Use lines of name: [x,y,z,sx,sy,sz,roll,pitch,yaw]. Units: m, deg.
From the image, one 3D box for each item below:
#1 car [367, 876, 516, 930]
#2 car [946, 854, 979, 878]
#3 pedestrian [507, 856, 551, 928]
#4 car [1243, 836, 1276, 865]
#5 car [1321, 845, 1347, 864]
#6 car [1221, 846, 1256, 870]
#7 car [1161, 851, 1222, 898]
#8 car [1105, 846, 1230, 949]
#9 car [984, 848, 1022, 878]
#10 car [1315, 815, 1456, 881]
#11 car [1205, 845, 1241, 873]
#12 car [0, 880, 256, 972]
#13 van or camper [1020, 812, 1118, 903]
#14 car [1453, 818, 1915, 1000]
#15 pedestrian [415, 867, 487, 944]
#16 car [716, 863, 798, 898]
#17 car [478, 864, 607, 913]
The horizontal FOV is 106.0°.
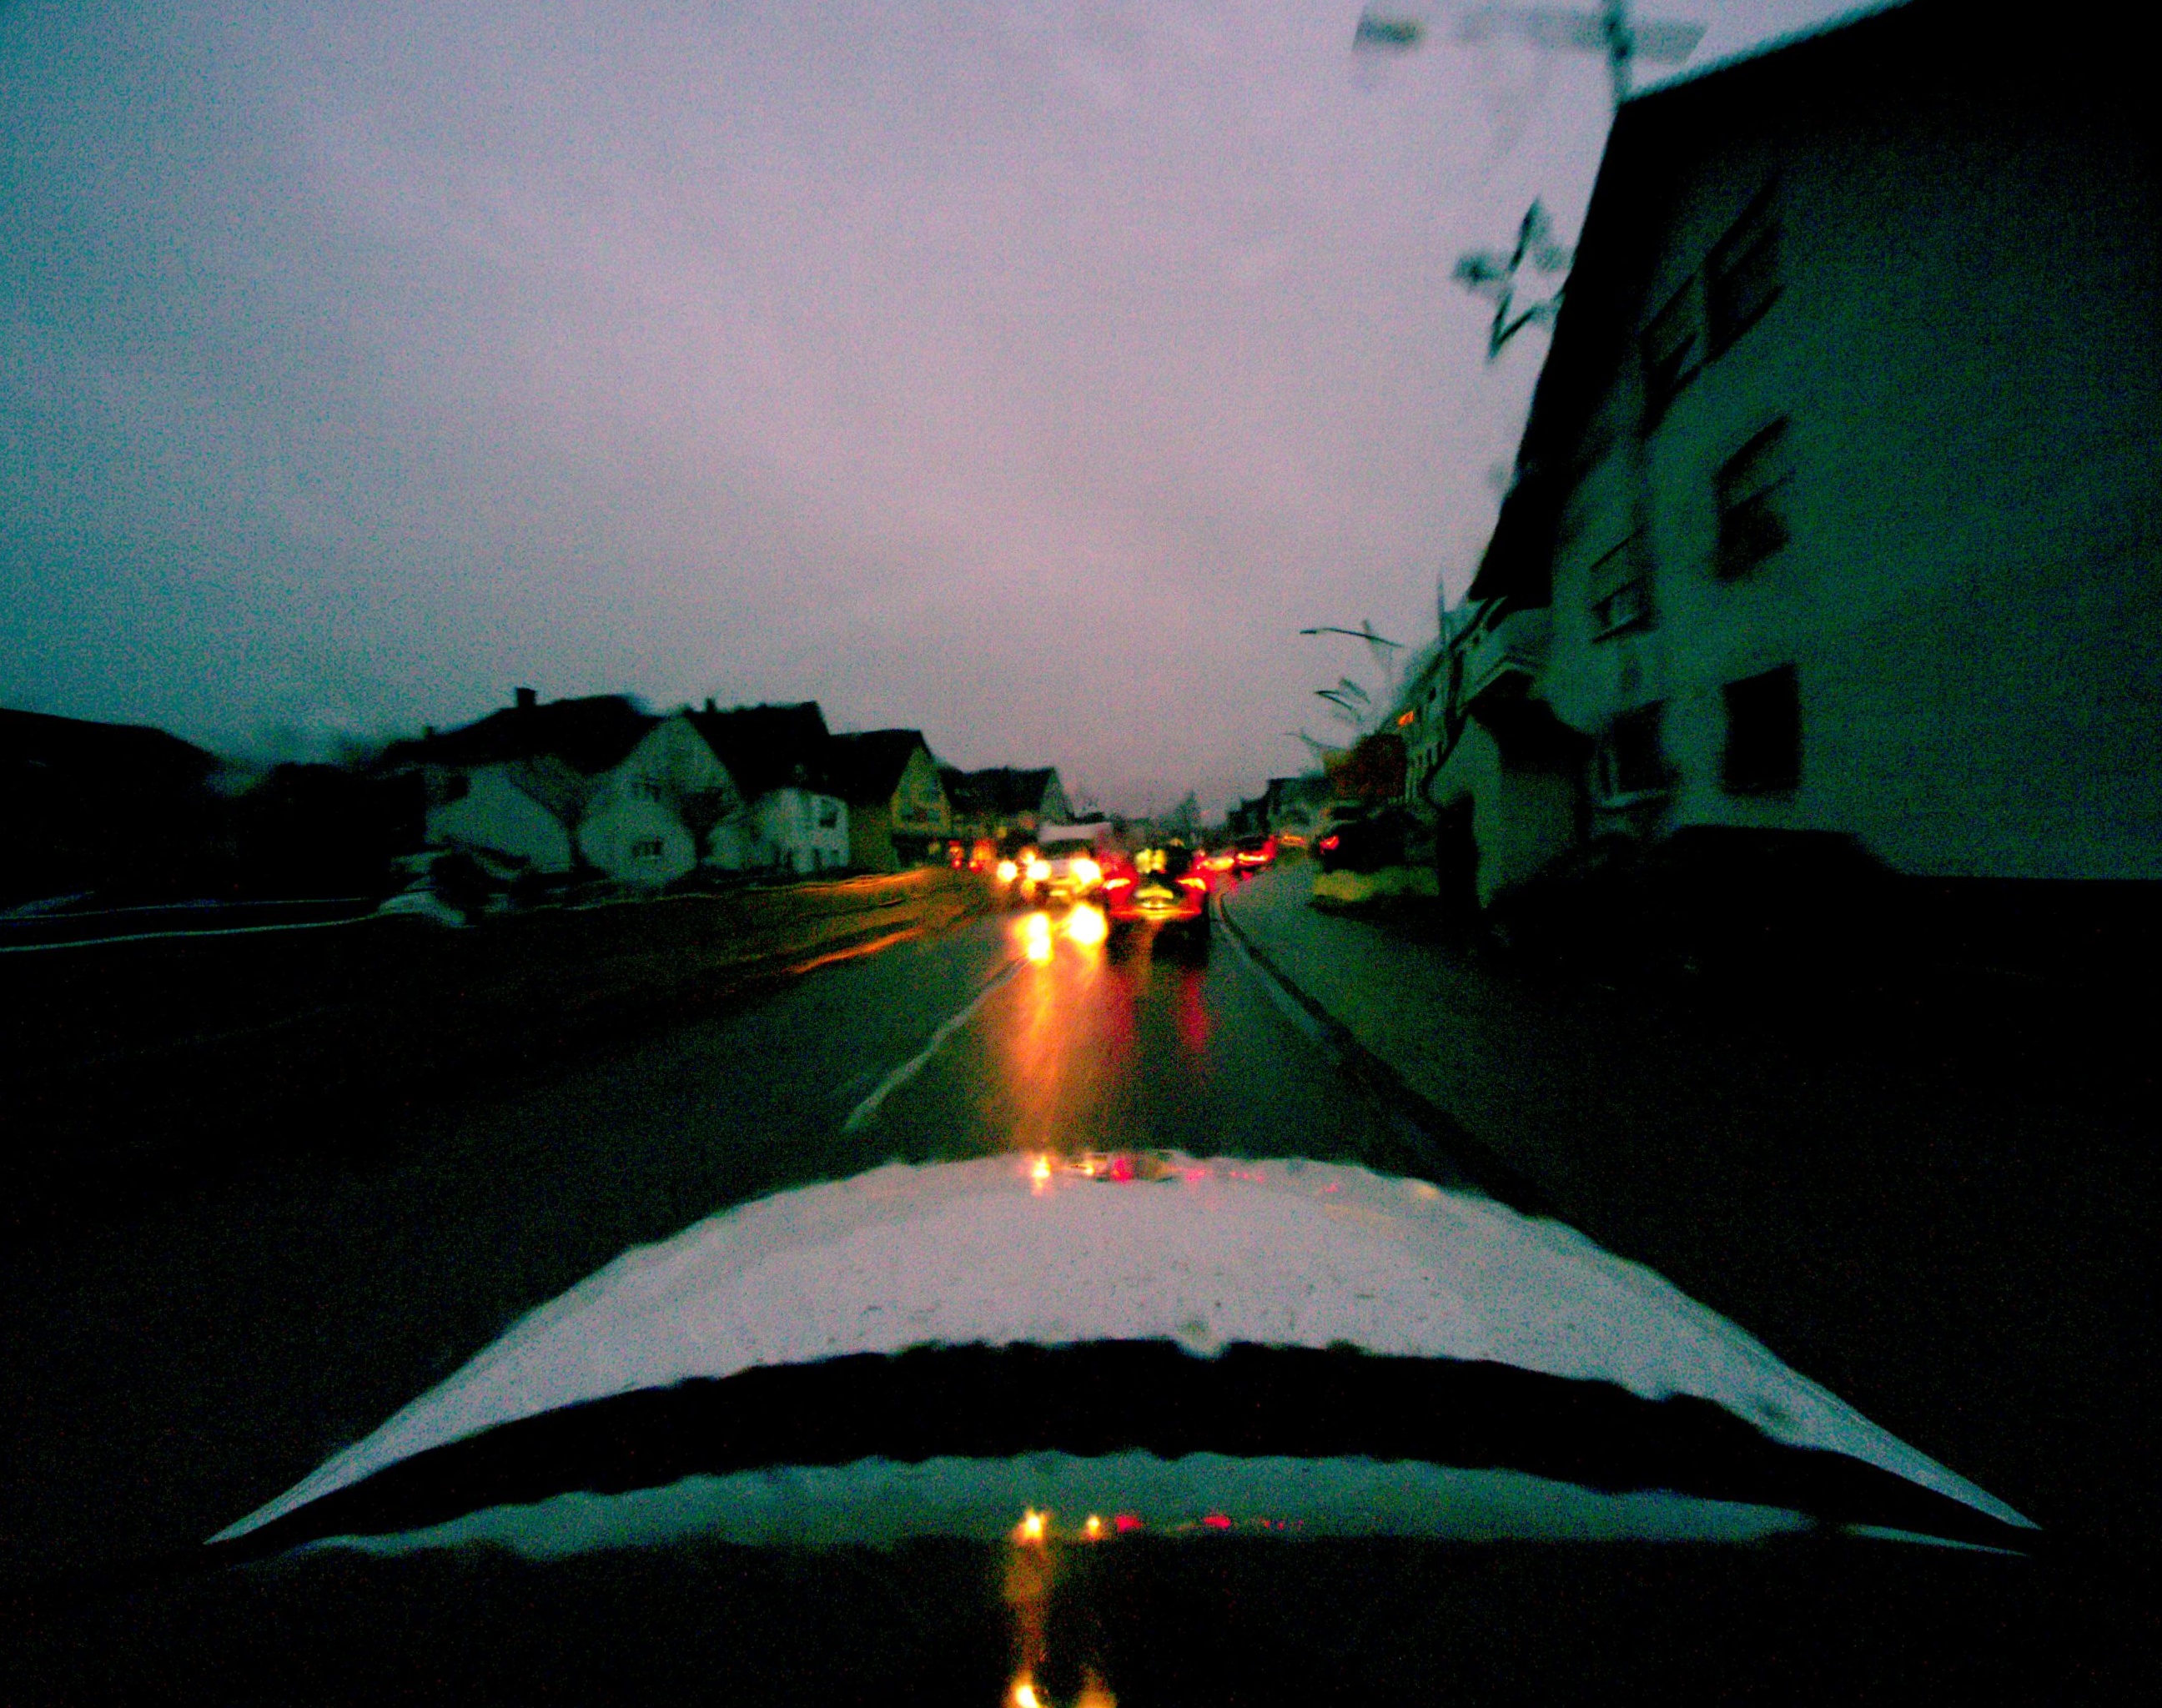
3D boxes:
car: [-19.216,1.426,24.656,1.474,1.427,3.466,-2,-1,7]
car: [-8.359,0.818,57.196,1.824,1.613,4.037,-2,0,-14]
pedestrian: [-13.307,0.904,19.628,0.659,1.697,0.543,-1,0,9]
car: [13.505,-0.270,61.767,2.144,1.991,4.513,-5,-1,11]
car: [22.864,0.047,73.541,1.550,1.413,3.623,-6,-1,26]
car: [10.102,0.234,51.951,1.980,1.391,4.015,-2,0,13]
car: [4.022,0.669,29.067,1.670,1.453,4.015,-3,0,14]
car: [1.549,0.673,15.099,1.955,1.594,4.319,-1,1,5]
car: [-5.496,0.581,56.757,2.040,1.925,4.037,-2,0,-14]
car: [10.635,-0.197,28.690,4.156,1.639,1.807,-9,0,5]
car: [7.548,0.243,43.370,1.803,1.412,4.011,-1,1,9]
car: [-20.122,1.431,17.079,1.558,1.580,3.823,-4,-1,3]
van or camper: [-0.225,0.091,27.843,2.227,2.669,6.571,-2,0,8]
car: [5.951,0.466,8.744,1.763,1.393,3.905,-4,0,-6]
pedestrian: [-15.192,1.215,19.670,0.924,1.784,0.974,-1,0,3]
car: [-16.605,1.343,41.973,1.898,1.562,4.230,-2,0,10]
car: [-21.861,1.397,33.170,3.968,1.694,1.867,-3,0,4]
